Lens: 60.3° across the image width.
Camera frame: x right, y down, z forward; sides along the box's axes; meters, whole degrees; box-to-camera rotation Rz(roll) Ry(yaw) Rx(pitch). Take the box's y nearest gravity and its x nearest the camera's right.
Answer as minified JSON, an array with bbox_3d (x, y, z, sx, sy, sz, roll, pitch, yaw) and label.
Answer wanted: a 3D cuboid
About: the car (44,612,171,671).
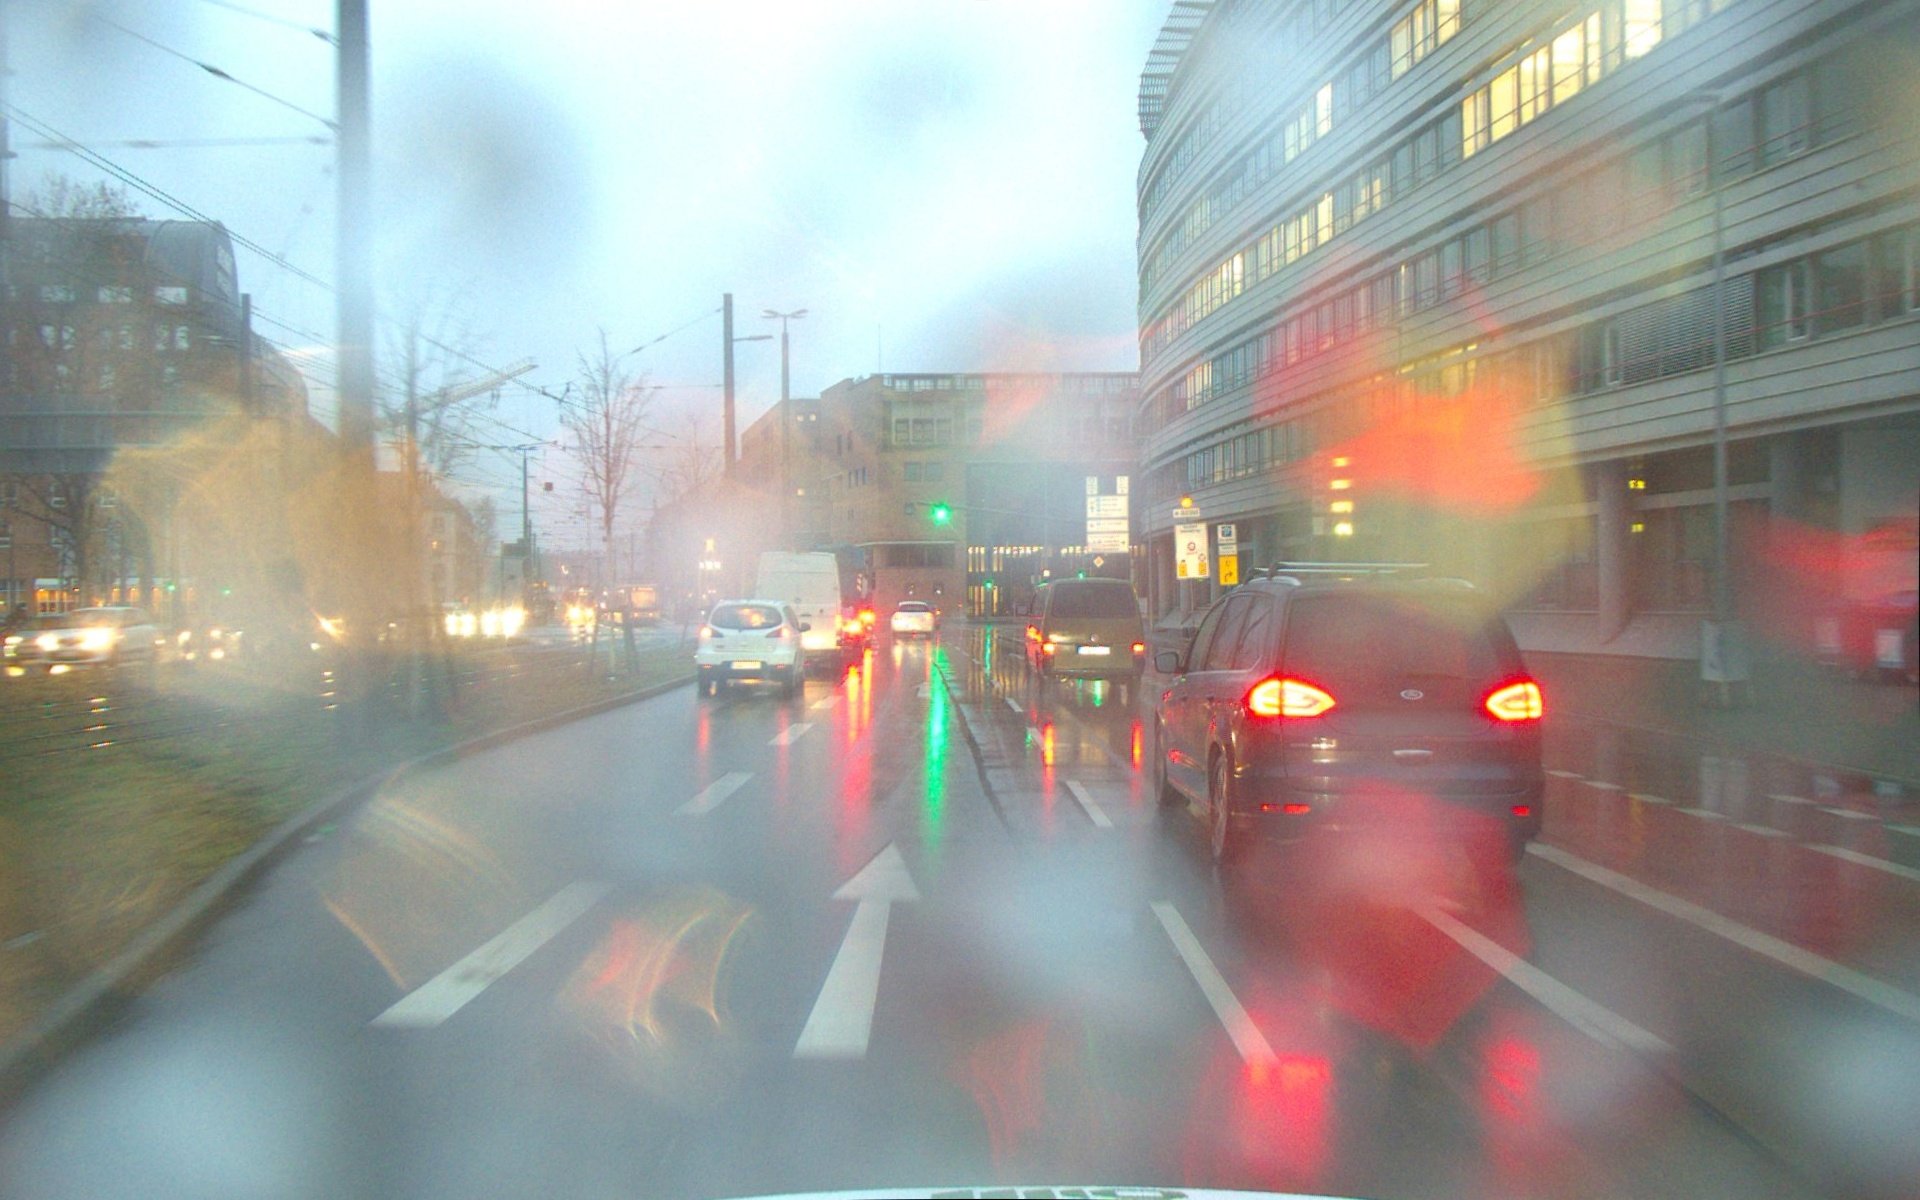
[{"bbox_3d":[-21.329,1.035,41.510,1.476,1.397,3.650,-1,-1,-4],"label":"car"}]

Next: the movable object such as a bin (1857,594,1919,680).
[{"bbox_3d":[15.078,0.573,26.306,0.829,1.316,1.165,-2,0,-12],"label":"movable object such as a bin"}]

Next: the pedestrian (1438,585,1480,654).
[{"bbox_3d":[12.145,0.470,40.258,0.711,1.653,0.902,-1,0,-2],"label":"pedestrian"}]

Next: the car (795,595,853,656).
[{"bbox_3d":[-3.635,0.670,44.120,1.488,1.547,3.466,-1,-1,-5],"label":"car"}]

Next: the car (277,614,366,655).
[{"bbox_3d":[-23.329,1.233,60.592,1.694,1.417,4.198,-1,0,-1],"label":"car"}]

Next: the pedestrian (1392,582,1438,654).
[{"bbox_3d":[11.156,0.434,40.567,0.777,1.715,1.068,-1,0,-2],"label":"pedestrian"}]

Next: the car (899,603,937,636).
[{"bbox_3d":[-1.734,0.794,68.932,1.481,1.328,3.040,-1,0,-1],"label":"car"}]

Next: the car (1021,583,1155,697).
[{"bbox_3d":[2.156,0.646,29.025,1.807,1.837,4.484,0,0,-3],"label":"car"}]

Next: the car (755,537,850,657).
[{"bbox_3d":[-3.567,-0.065,37.382,1.955,2.470,5.967,-1,0,-6],"label":"car"}]

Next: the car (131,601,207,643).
[{"bbox_3d":[-33.517,0.923,70.163,1.599,1.721,3.620,0,0,-2],"label":"car"}]

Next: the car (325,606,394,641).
[{"bbox_3d":[-26.315,1.012,72.605,1.956,1.475,4.307,0,0,-8],"label":"car"}]

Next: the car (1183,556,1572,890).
[{"bbox_3d":[2.559,0.674,11.065,1.639,1.811,4.000,1,0,1],"label":"car"}]

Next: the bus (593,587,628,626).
[{"bbox_3d":[-31.950,0.569,151.072,2.776,3.431,7.969,0,0,-14],"label":"bus"}]

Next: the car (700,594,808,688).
[{"bbox_3d":[-3.574,0.670,29.201,1.606,1.522,3.683,-1,0,-3],"label":"car"}]

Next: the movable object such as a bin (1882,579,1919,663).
[{"bbox_3d":[16.675,0.352,28.585,0.716,1.407,1.076,-2,0,-12],"label":"movable object such as a bin"}]

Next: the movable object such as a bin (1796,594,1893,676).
[{"bbox_3d":[14.778,0.575,27.658,0.829,1.316,1.165,-2,0,-12],"label":"movable object such as a bin"}]

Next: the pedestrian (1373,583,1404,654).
[{"bbox_3d":[10.461,0.437,40.382,0.520,1.712,0.744,-1,0,-2],"label":"pedestrian"}]

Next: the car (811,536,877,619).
[{"bbox_3d":[-4.279,-0.760,60.928,2.309,2.876,6.353,0,0,-4],"label":"car"}]

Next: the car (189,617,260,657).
[{"bbox_3d":[-28.251,1.397,63.639,1.604,1.475,4.405,0,0,-12],"label":"car"}]

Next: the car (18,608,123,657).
[{"bbox_3d":[-27.035,0.958,50.370,1.476,1.426,3.546,-1,0,-4],"label":"car"}]
